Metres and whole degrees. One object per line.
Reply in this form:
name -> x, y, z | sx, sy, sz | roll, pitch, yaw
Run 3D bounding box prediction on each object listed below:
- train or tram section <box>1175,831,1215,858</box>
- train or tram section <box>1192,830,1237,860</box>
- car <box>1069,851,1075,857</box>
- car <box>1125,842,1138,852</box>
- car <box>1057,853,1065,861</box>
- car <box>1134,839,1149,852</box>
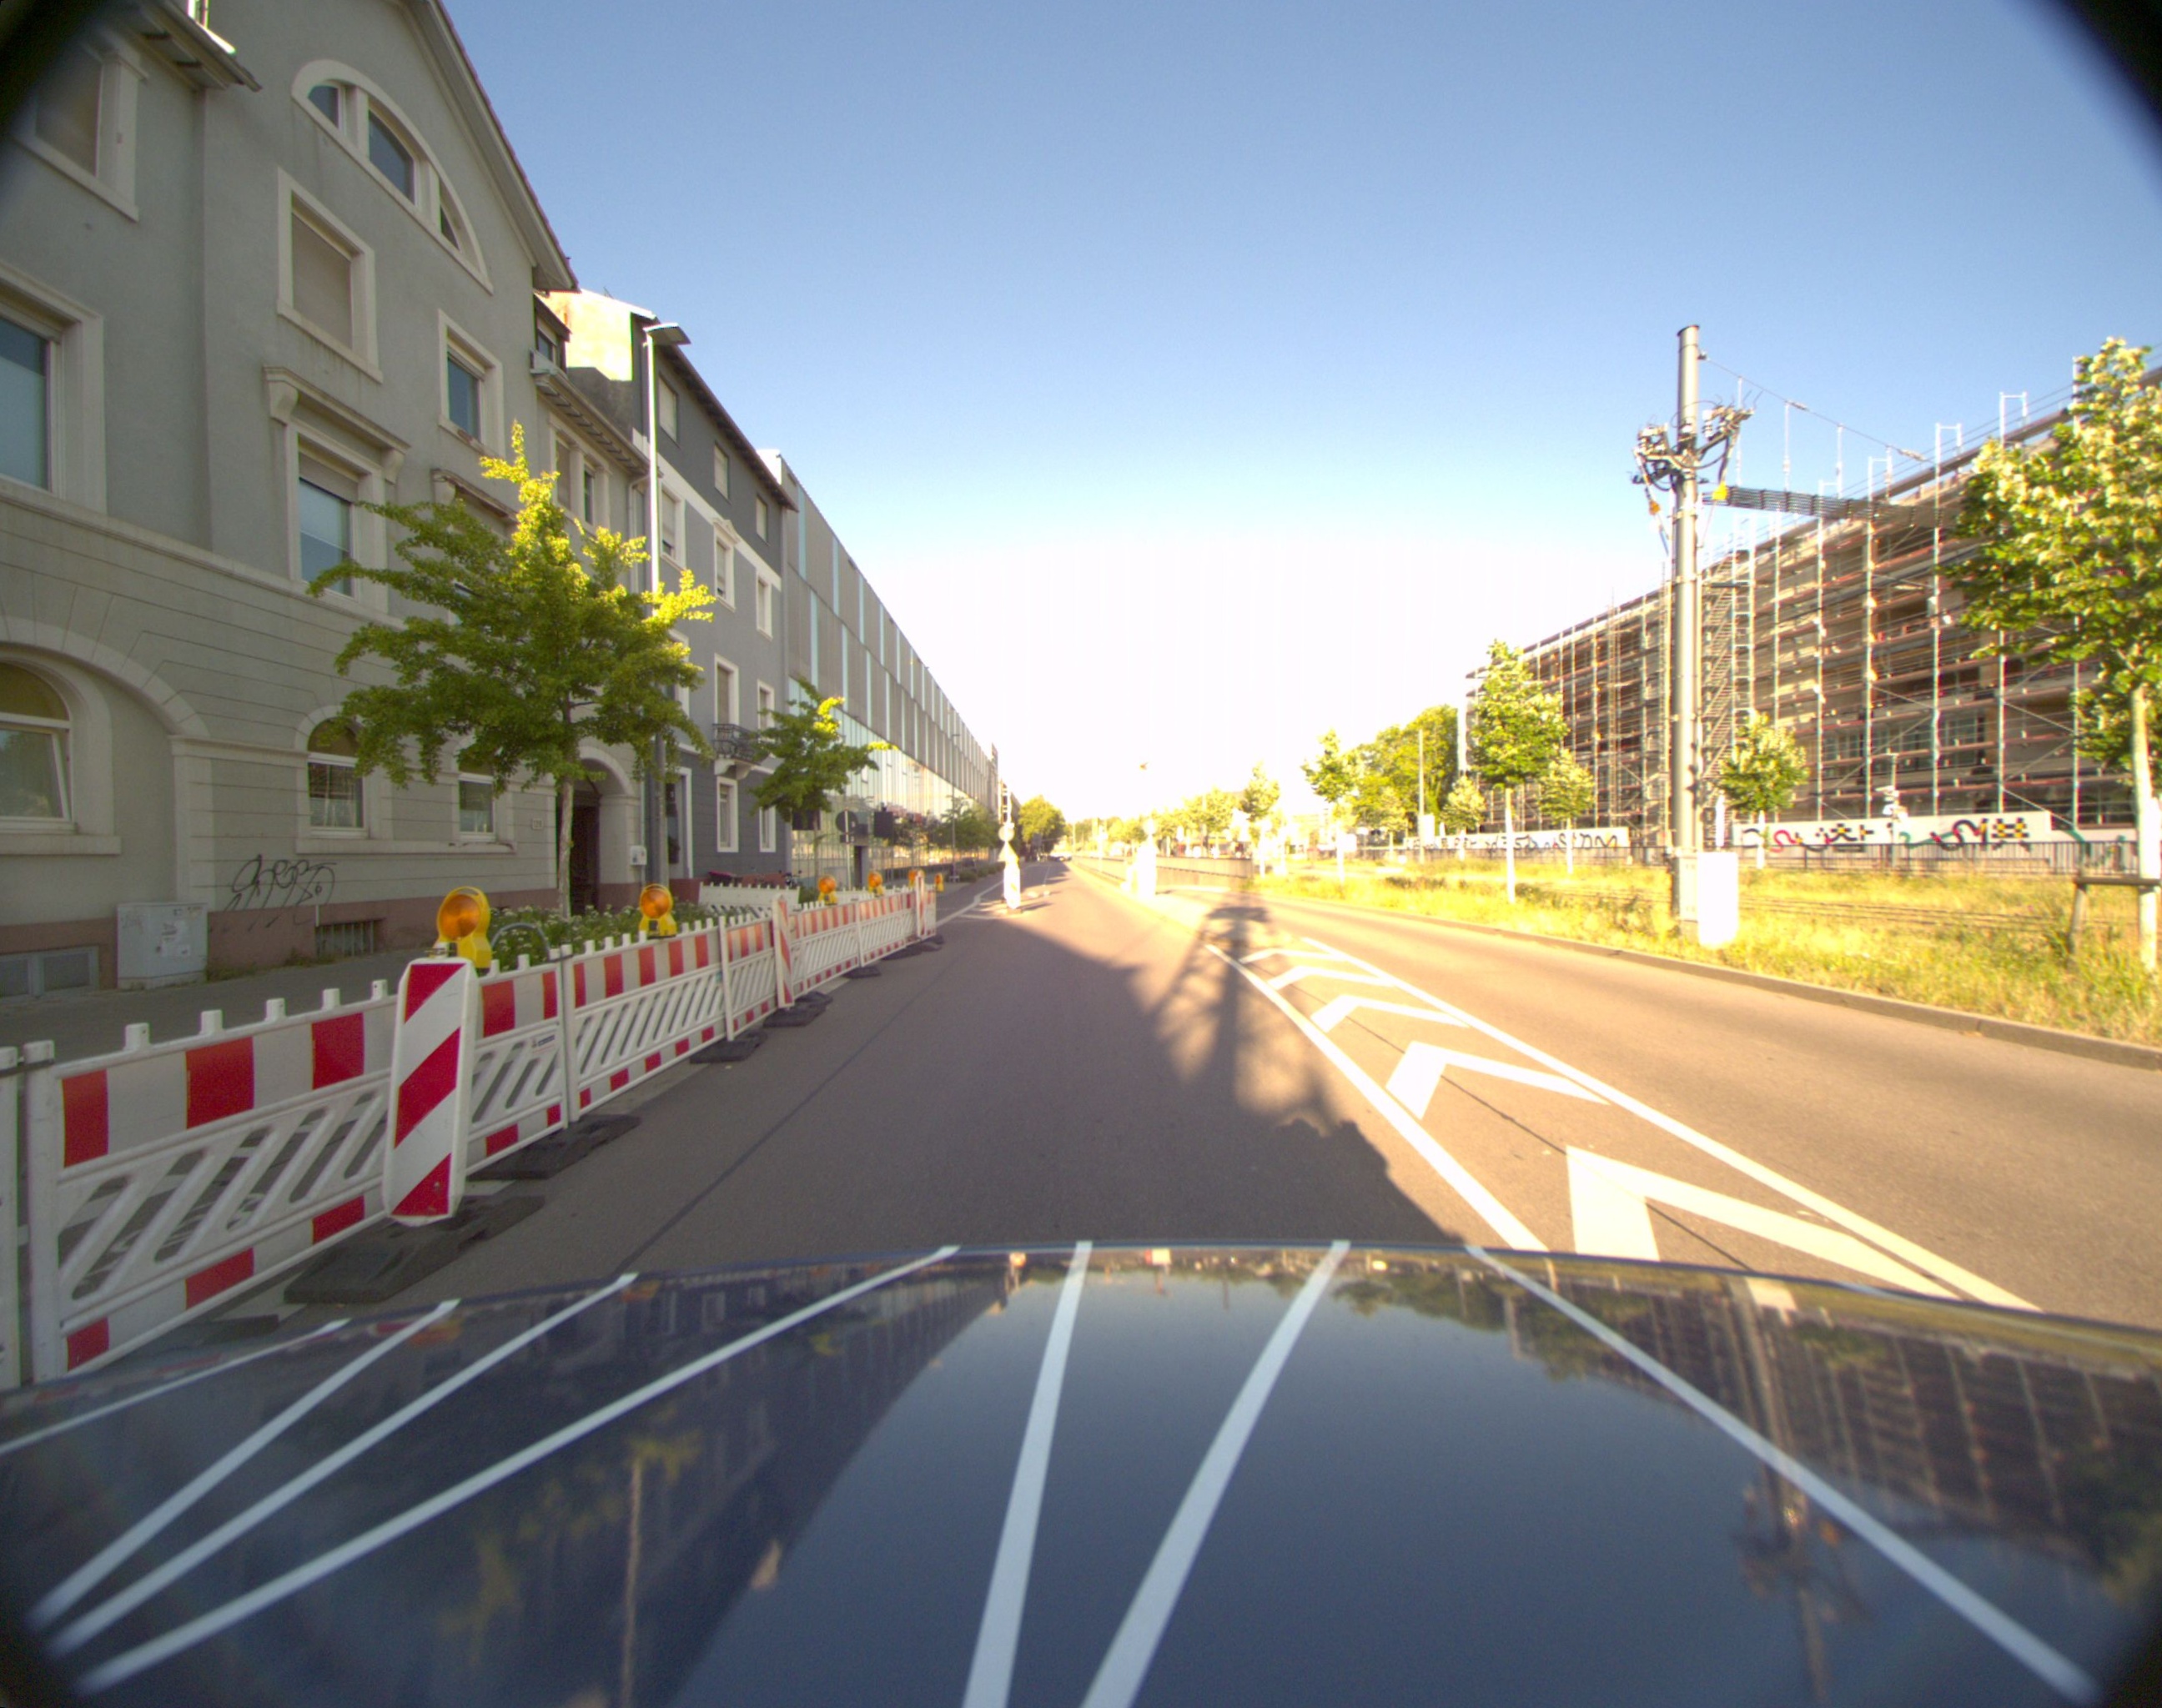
train or tram section -> 15.998, -1.311, 107.919 | 2.954, 3.378, 14.761 | -2, 1, -2
train or tram section -> 16.371, -1.133, 94.252 | 2.954, 3.378, 12.630 | -2, 1, -2
car -> -3.064, -0.089, 257.775 | 1.941, 2.002, 3.825 | -1, 0, -3
car -> 8.886, -1.246, 134.199 | 1.998, 1.740, 3.999 | -2, 1, 1
car -> -4.898, 0.790, 187.316 | 1.941, 2.002, 3.825 | -1, 0, -3
car -> 9.689, -1.427, 122.102 | 1.998, 2.002, 3.999 | -2, 1, 1
